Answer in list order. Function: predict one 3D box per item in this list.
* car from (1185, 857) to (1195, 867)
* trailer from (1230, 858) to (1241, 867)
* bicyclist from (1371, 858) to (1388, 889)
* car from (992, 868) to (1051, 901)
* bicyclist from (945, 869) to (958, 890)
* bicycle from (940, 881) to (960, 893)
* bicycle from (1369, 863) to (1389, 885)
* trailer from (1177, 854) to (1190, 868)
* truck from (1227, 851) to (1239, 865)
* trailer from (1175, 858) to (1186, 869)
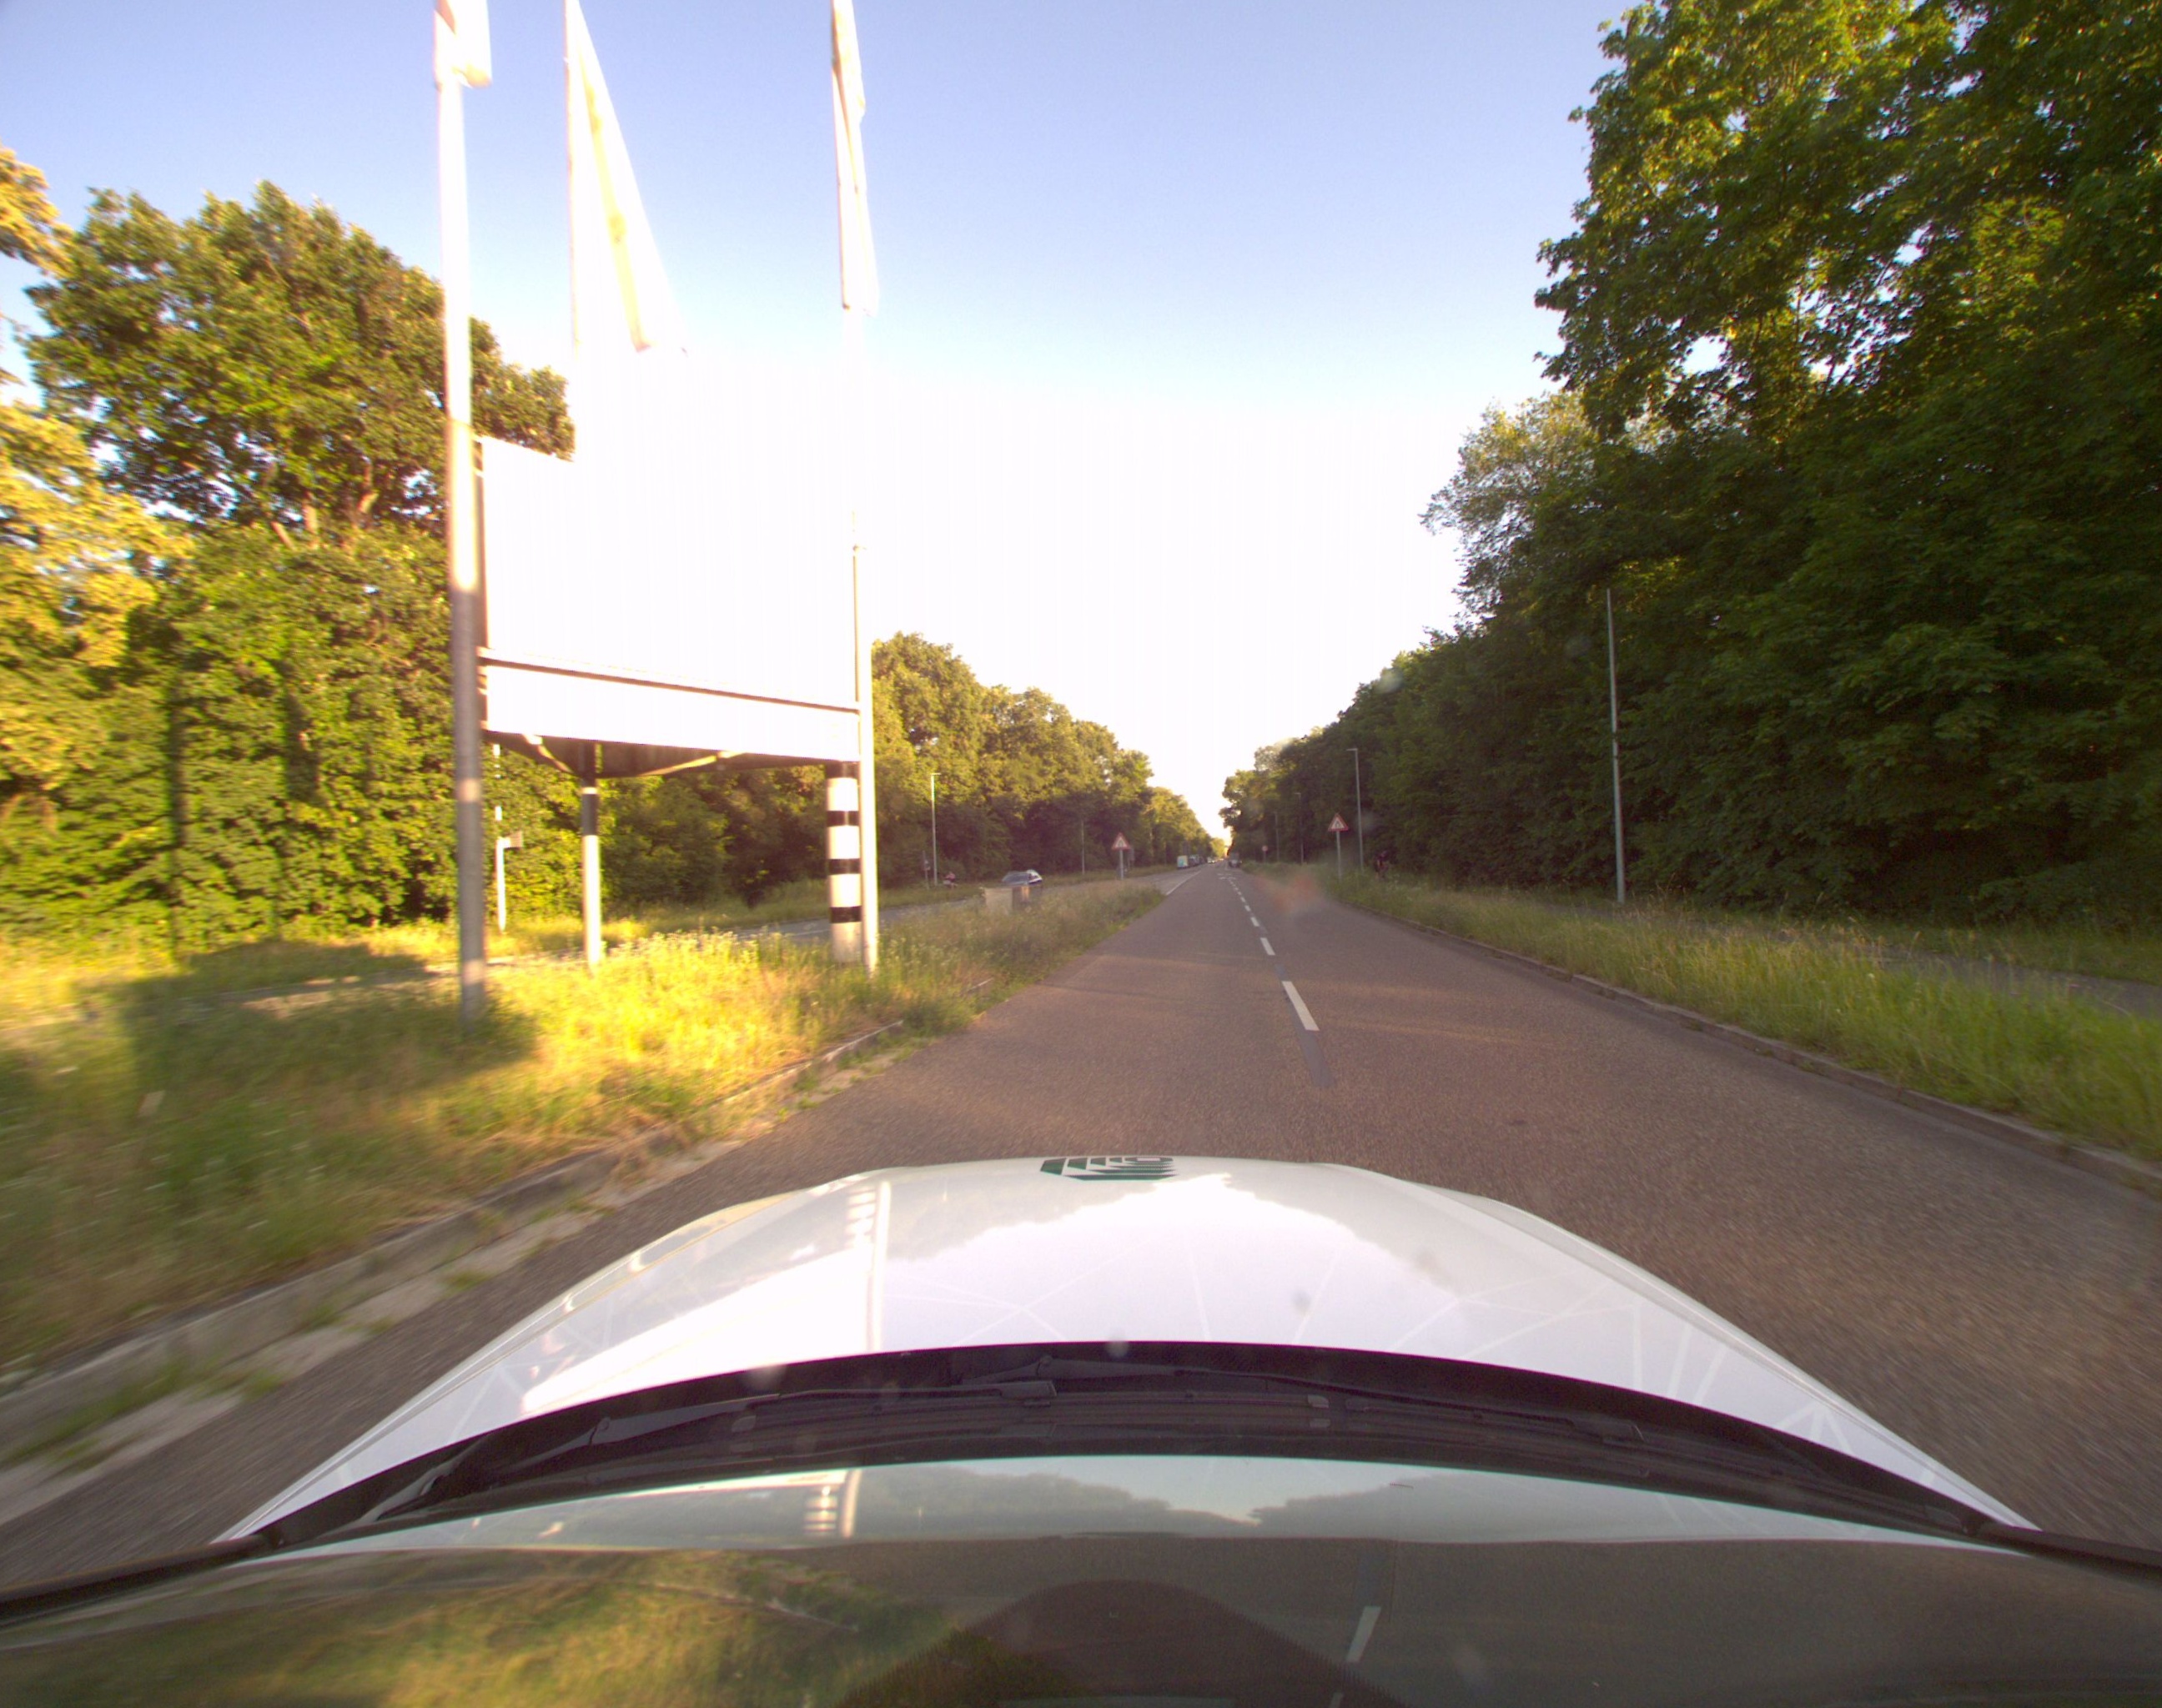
[{"bbox_3d":[27.214,1.975,203.702,1.981,2.364,5.781,-5,-1,10],"label":"car"},{"bbox_3d":[30.592,1.628,161.213,1.443,1.662,3.798,-3,-1,23],"label":"trailer"},{"bbox_3d":[14.351,0.920,39.187,0.599,1.455,0.782,-3,-1,10],"label":"bicyclist"},{"bbox_3d":[-3.138,1.589,43.935,1.806,1.534,4.472,-4,-1,14],"label":"car"},{"bbox_3d":[-9.114,1.791,57.400,0.581,1.429,0.826,-3,-1,17],"label":"bicyclist"},{"bbox_3d":[-9.208,2.317,57.253,0.581,0.804,1.967,-3,-1,17],"label":"bicycle"},{"bbox_3d":[14.347,0.968,39.221,0.607,0.995,1.696,-3,-1,11],"label":"bicycle"},{"bbox_3d":[22.475,1.597,178.735,2.312,2.924,5.641,-4,-1,9],"label":"trailer"},{"bbox_3d":[36.123,1.017,193.315,2.572,3.255,7.243,-1,-1,11],"label":"truck"},{"bbox_3d":[19.979,1.836,163.278,1.806,2.167,4.153,-3,-1,9],"label":"trailer"}]
